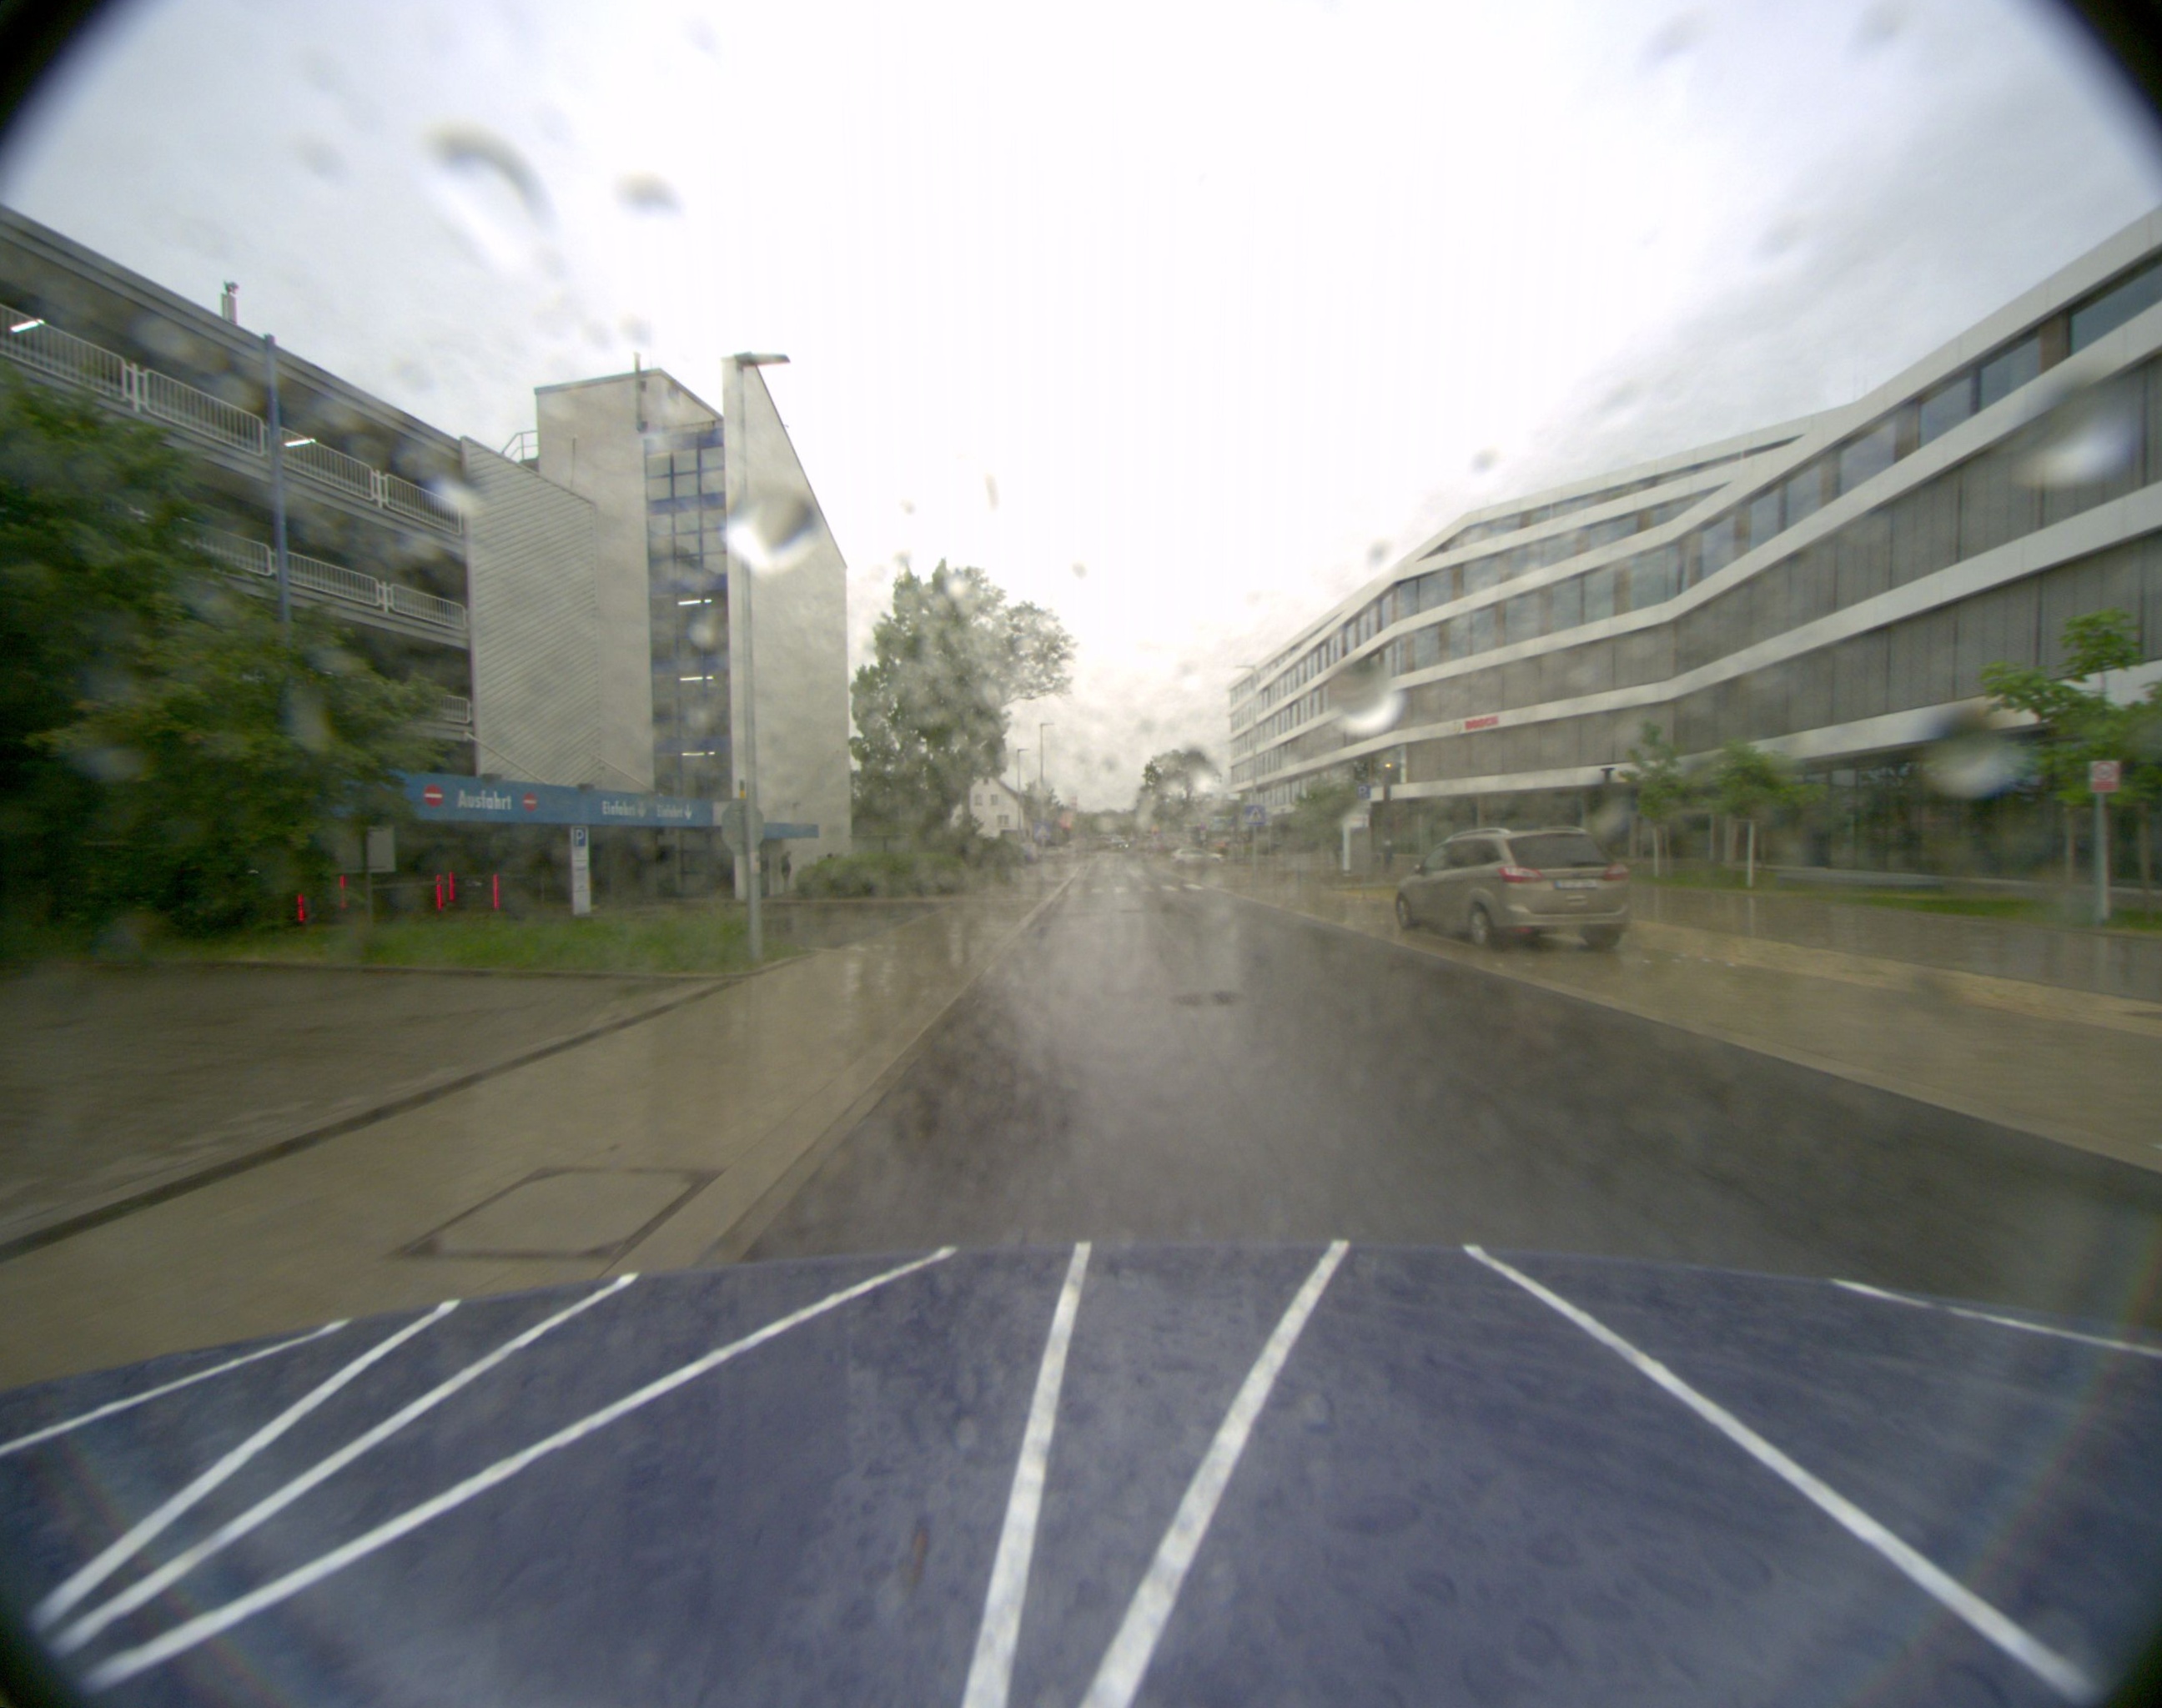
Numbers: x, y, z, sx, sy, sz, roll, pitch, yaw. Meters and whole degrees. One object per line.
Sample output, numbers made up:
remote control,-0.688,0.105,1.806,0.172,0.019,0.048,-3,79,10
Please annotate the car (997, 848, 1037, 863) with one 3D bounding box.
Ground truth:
car,-6.572,0.135,78.616,3.998,1.445,1.868,-1,1,-3

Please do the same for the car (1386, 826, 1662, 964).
car,6.405,0.492,11.661,1.841,1.696,4.323,-1,1,2

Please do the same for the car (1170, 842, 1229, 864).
car,8.851,-0.064,57.108,4.166,1.411,2.001,-3,1,5

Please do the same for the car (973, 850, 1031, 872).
car,-5.695,0.514,55.057,3.998,1.445,1.868,-1,1,-3
